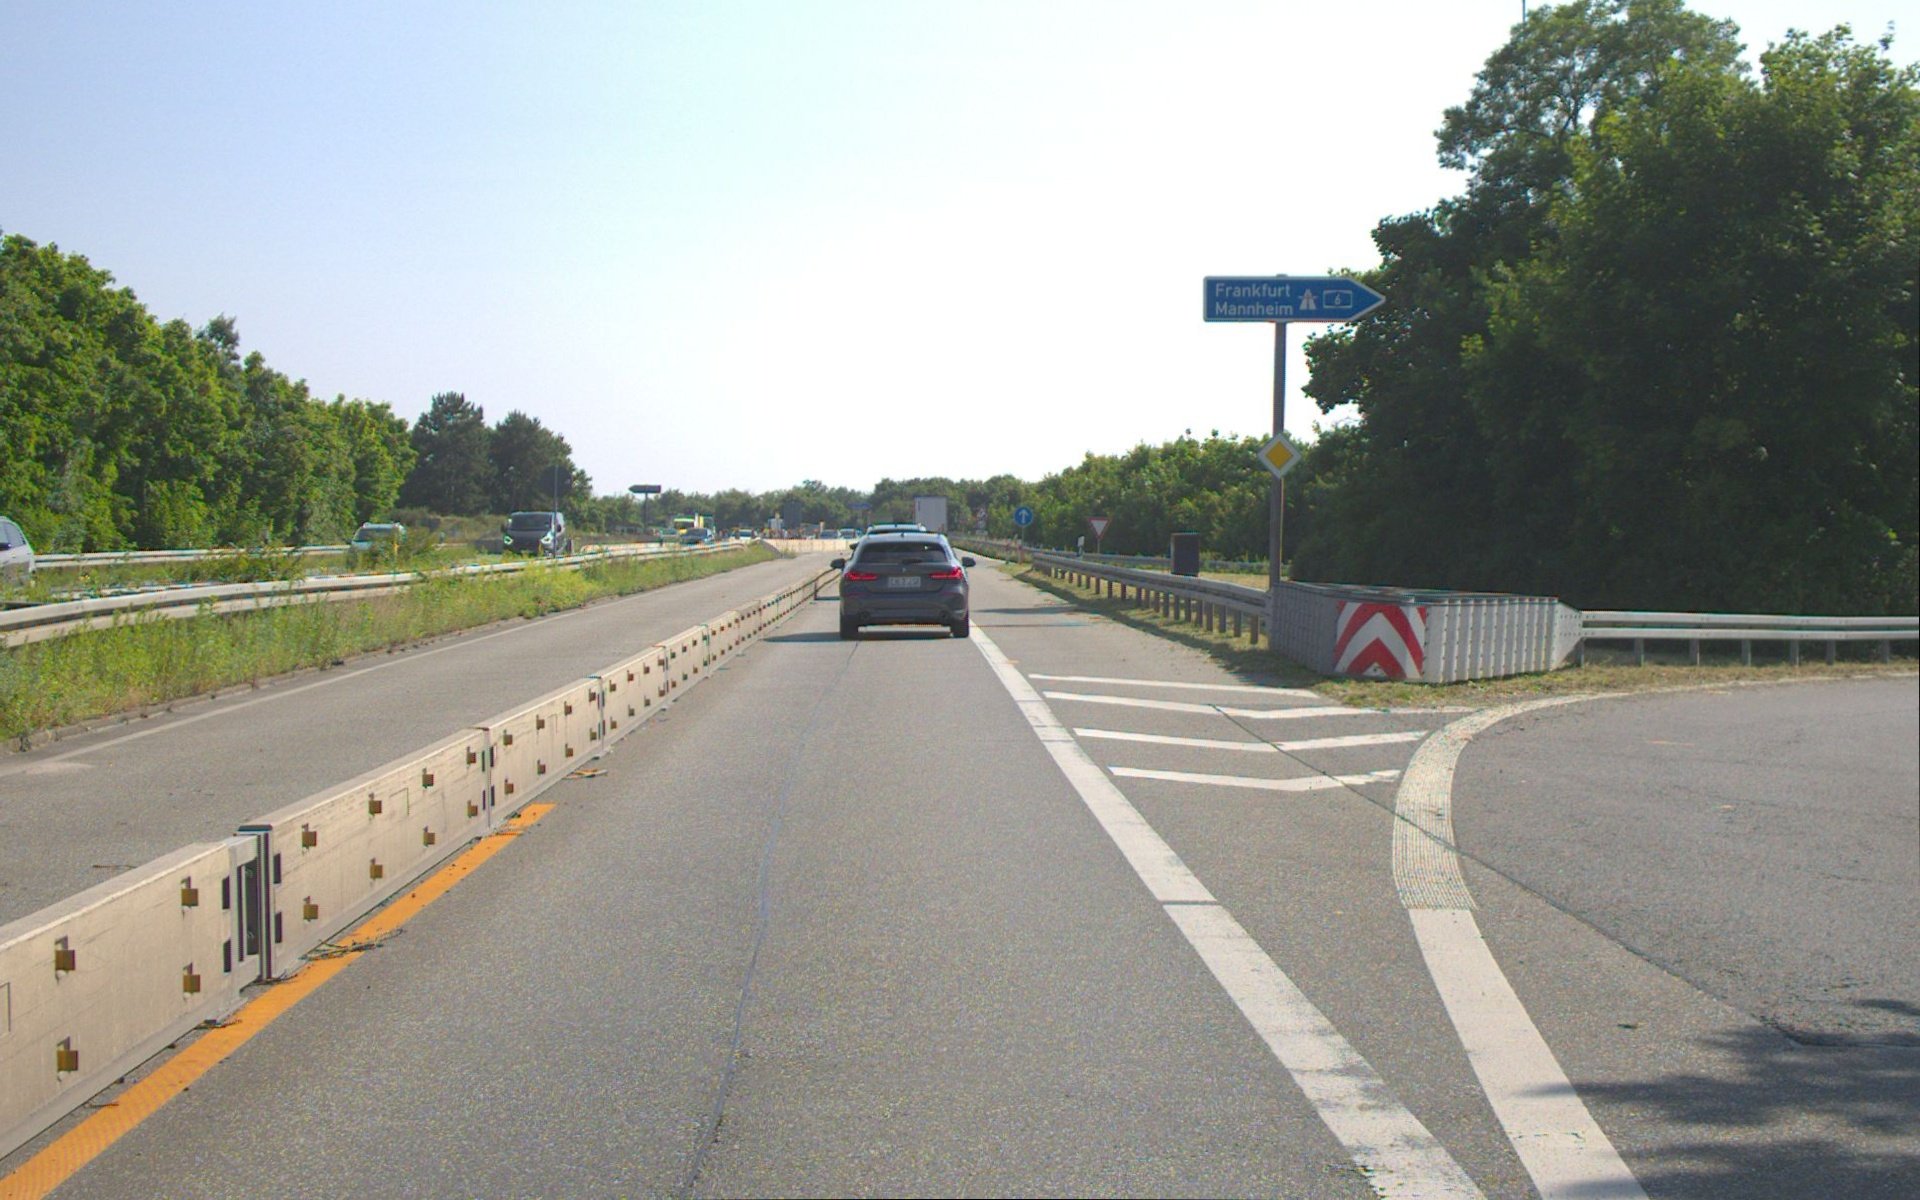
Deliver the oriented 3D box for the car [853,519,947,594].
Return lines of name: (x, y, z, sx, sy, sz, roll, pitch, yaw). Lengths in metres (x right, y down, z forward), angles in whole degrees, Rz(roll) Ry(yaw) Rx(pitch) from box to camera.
car: (-1.299, -0.973, 75.496, 1.993, 1.561, 4.000, -1, 1, 0)

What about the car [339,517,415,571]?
car: (-16.910, -1.646, 99.864, 1.646, 1.526, 3.819, 1, 1, -1)

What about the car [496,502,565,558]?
car: (-16.043, -2.641, 128.759, 1.993, 2.027, 5.169, 0, 2, -1)

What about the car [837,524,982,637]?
car: (-0.750, -0.308, 48.218, 1.920, 1.488, 4.001, 1, 1, -2)

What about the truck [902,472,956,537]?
truck: (-2.467, -7.399, 267.232, 3.760, 4.894, 14.138, 0, 1, -2)

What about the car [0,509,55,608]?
car: (-16.315, -0.687, 56.491, 1.763, 1.577, 4.423, -1, 2, -1)
